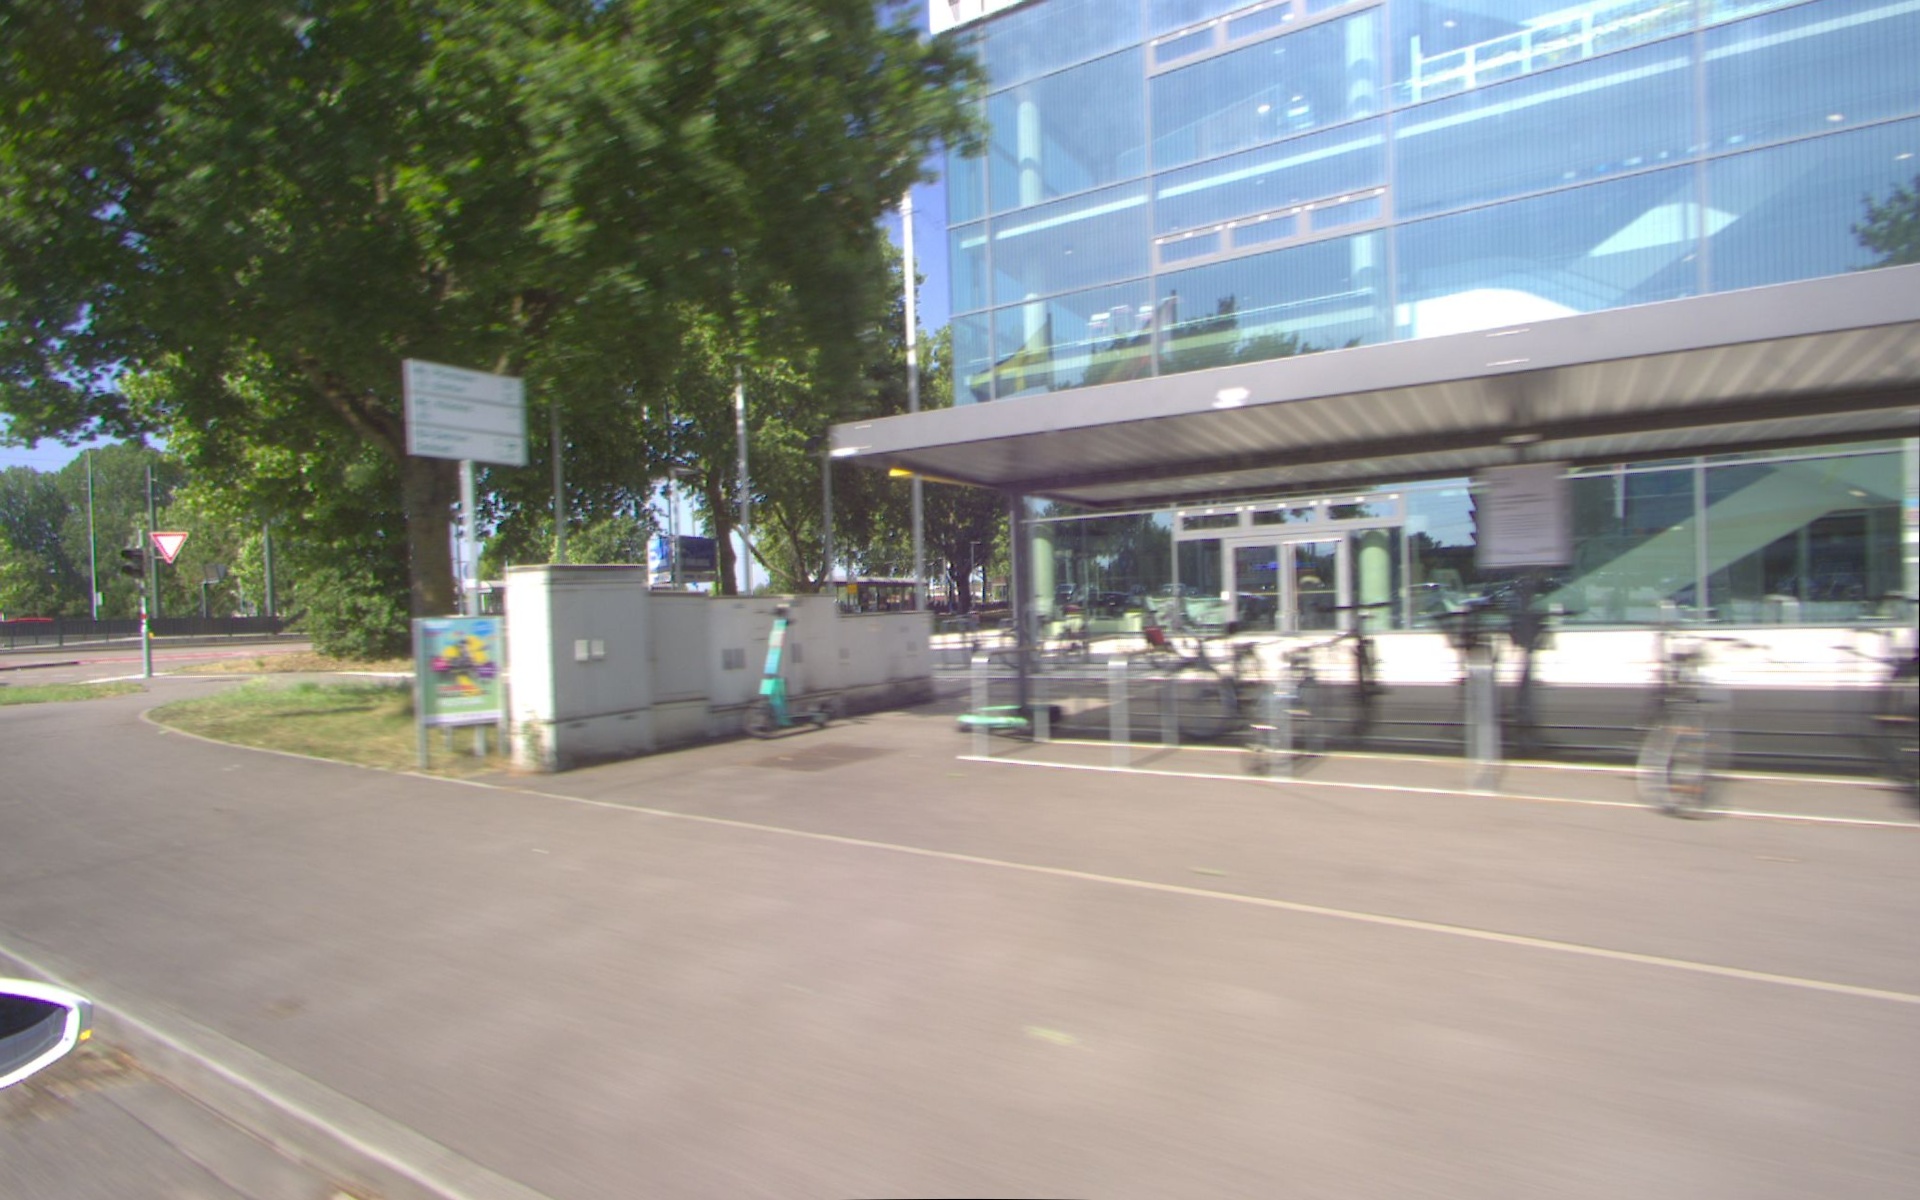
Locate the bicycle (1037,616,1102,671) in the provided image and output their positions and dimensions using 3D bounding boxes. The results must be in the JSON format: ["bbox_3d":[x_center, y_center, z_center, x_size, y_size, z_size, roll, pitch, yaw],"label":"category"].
[{"bbox_3d":[1.898,0.726,17.170,0.428,0.854,1.557,0,1,34],"label":"bicycle"}]

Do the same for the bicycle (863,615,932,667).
[{"bbox_3d":[-1.166,0.758,19.009,0.428,0.922,1.557,0,1,34],"label":"bicycle"}]

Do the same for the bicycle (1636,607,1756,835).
[{"bbox_3d":[4.302,0.622,5.922,0.446,1.111,1.754,0,1,32],"label":"bicycle"}]

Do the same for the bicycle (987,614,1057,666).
[{"bbox_3d":[1.118,0.693,17.776,0.428,0.854,1.555,0,1,37],"label":"bicycle"}]

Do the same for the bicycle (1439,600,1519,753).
[{"bbox_3d":[4.355,0.576,8.357,0.446,1.111,1.754,0,1,32],"label":"bicycle"}]

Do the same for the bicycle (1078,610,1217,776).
[{"bbox_3d":[1.509,0.659,7.818,0.446,1.111,1.754,0,1,32],"label":"bicycle"}]

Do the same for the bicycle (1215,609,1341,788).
[{"bbox_3d":[2.365,0.647,7.327,0.446,1.111,1.754,0,1,32],"label":"bicycle"}]

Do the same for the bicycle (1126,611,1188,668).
[{"bbox_3d":[3.244,0.626,16.405,0.428,0.854,1.557,0,1,34],"label":"bicycle"}]

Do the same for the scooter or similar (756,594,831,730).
[{"bbox_3d":[-1.650,0.596,9.964,0.279,1.282,0.775,0,2,30],"label":"scooter or similar"}]

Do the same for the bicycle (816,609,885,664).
[{"bbox_3d":[-2.121,0.698,19.545,0.428,1.008,1.557,0,1,34],"label":"bicycle"}]

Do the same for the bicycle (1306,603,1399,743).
[{"bbox_3d":[3.601,0.604,9.115,0.446,1.111,1.824,0,1,32],"label":"bicycle"}]

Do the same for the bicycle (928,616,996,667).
[{"bbox_3d":[0.054,0.740,18.231,0.428,0.854,1.557,0,1,34],"label":"bicycle"}]

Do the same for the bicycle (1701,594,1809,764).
[{"bbox_3d":[5.925,0.525,7.524,0.446,1.111,1.754,0,1,32],"label":"bicycle"}]

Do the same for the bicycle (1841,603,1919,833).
[{"bbox_3d":[5.417,0.591,5.608,0.446,1.111,1.754,0,1,32],"label":"bicycle"}]

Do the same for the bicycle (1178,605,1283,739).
[{"bbox_3d":[2.581,0.627,9.435,0.446,1.111,1.754,0,1,32],"label":"bicycle"}]

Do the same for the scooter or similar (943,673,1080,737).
[{"bbox_3d":[0.491,0.996,9.690,0.908,0.457,0.954,-3,1,-37],"label":"scooter or similar"}]
